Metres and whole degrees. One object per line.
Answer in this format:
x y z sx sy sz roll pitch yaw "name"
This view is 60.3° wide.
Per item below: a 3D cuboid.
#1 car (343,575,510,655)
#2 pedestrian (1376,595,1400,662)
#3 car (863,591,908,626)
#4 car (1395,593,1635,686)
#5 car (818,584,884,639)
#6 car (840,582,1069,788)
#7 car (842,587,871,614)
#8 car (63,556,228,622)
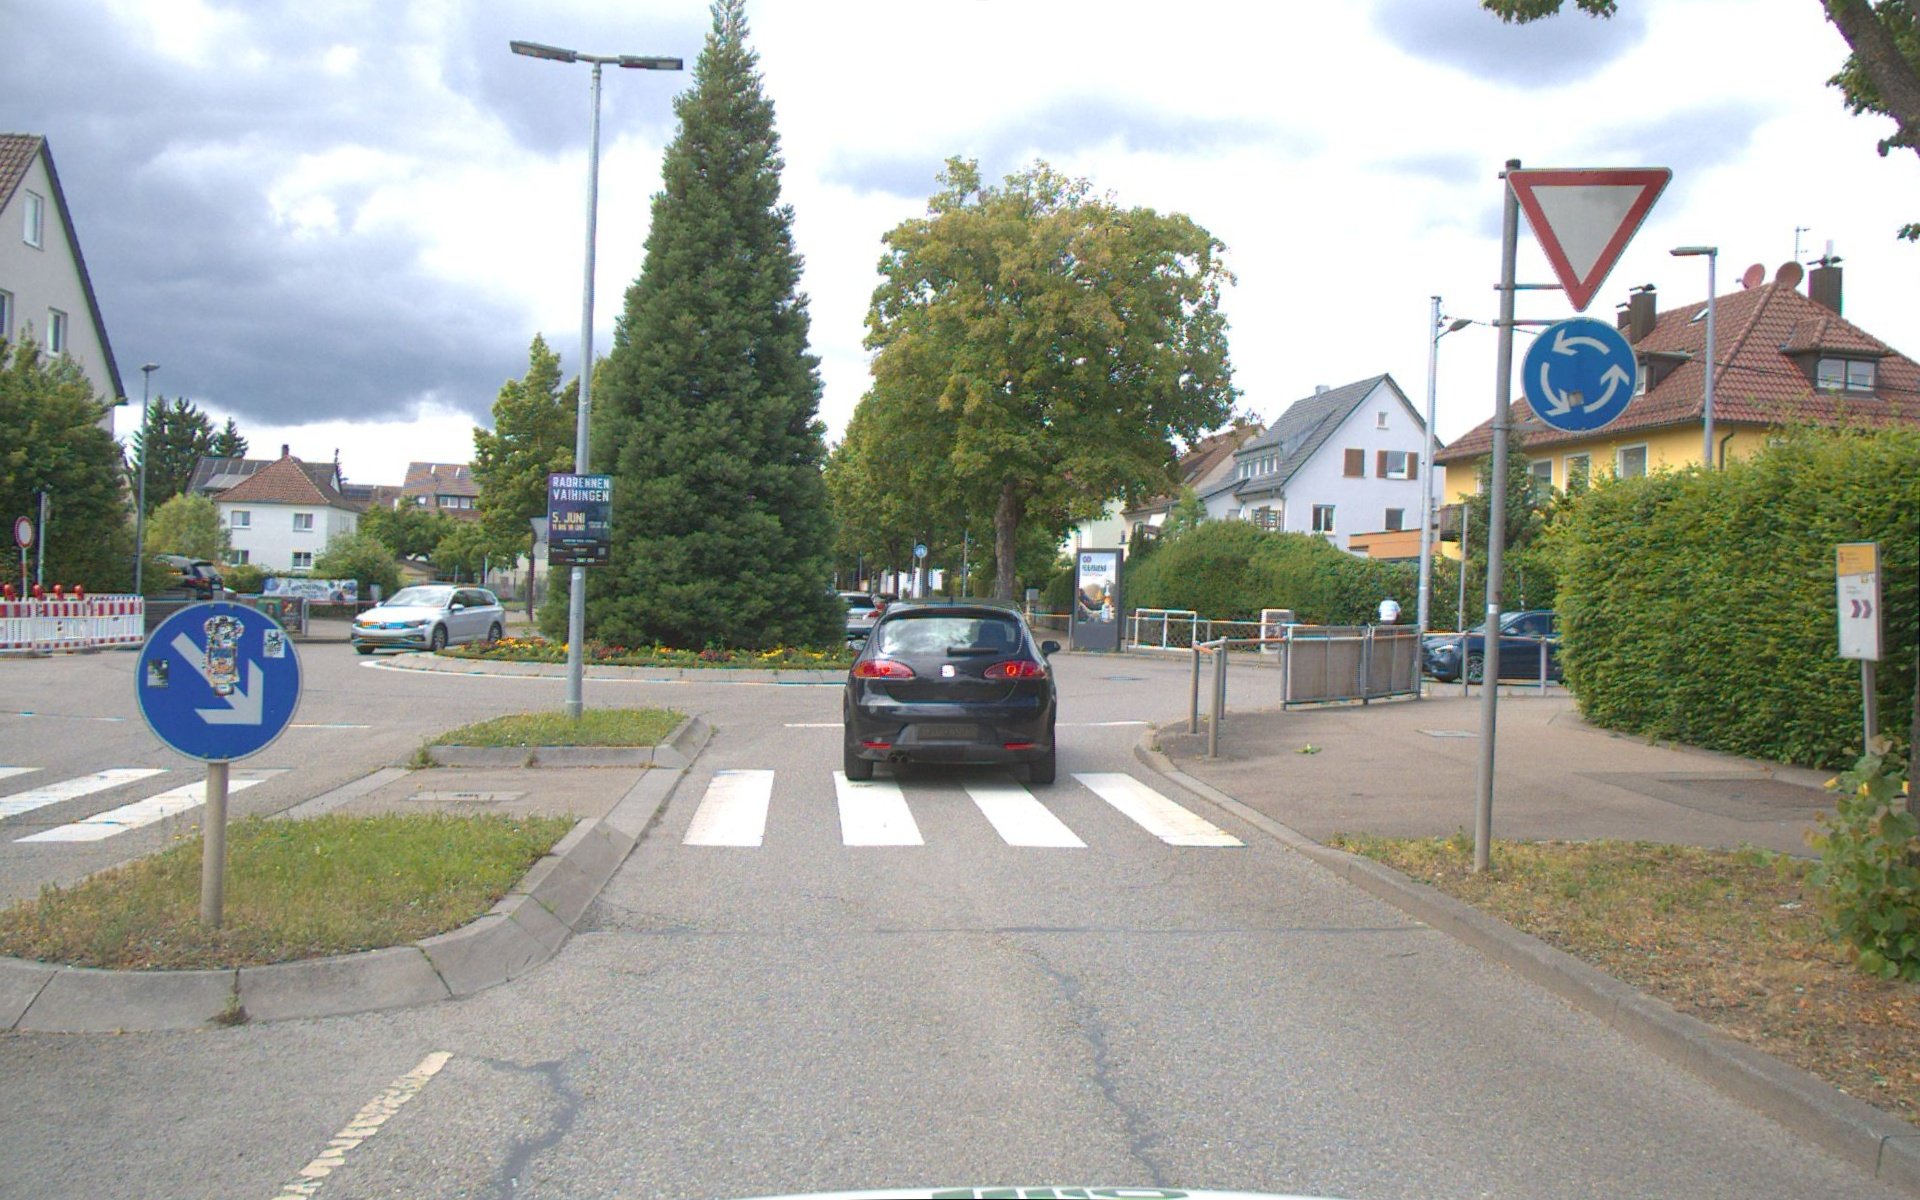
-11.557 0.301 36.142 1.829 1.588 4.262 1 0 7 "car"
10.265 0.679 39.681 0.480 1.560 0.485 1 0 19 "pedestrian"
-3.430 0.363 76.190 1.449 1.515 3.370 1 0 -13 "car"
11.295 0.790 33.799 4.310 1.690 1.649 2 0 -4 "car"
-3.493 0.340 52.425 1.955 1.641 3.996 2 0 -5 "car"
0.026 0.632 14.433 1.696 1.512 4.001 1 0 2 "car"
-6.091 0.037 97.509 1.564 1.536 3.596 1 0 -6 "car"
-21.443 -0.294 43.619 3.515 1.639 1.600 1 0 0 "car"
